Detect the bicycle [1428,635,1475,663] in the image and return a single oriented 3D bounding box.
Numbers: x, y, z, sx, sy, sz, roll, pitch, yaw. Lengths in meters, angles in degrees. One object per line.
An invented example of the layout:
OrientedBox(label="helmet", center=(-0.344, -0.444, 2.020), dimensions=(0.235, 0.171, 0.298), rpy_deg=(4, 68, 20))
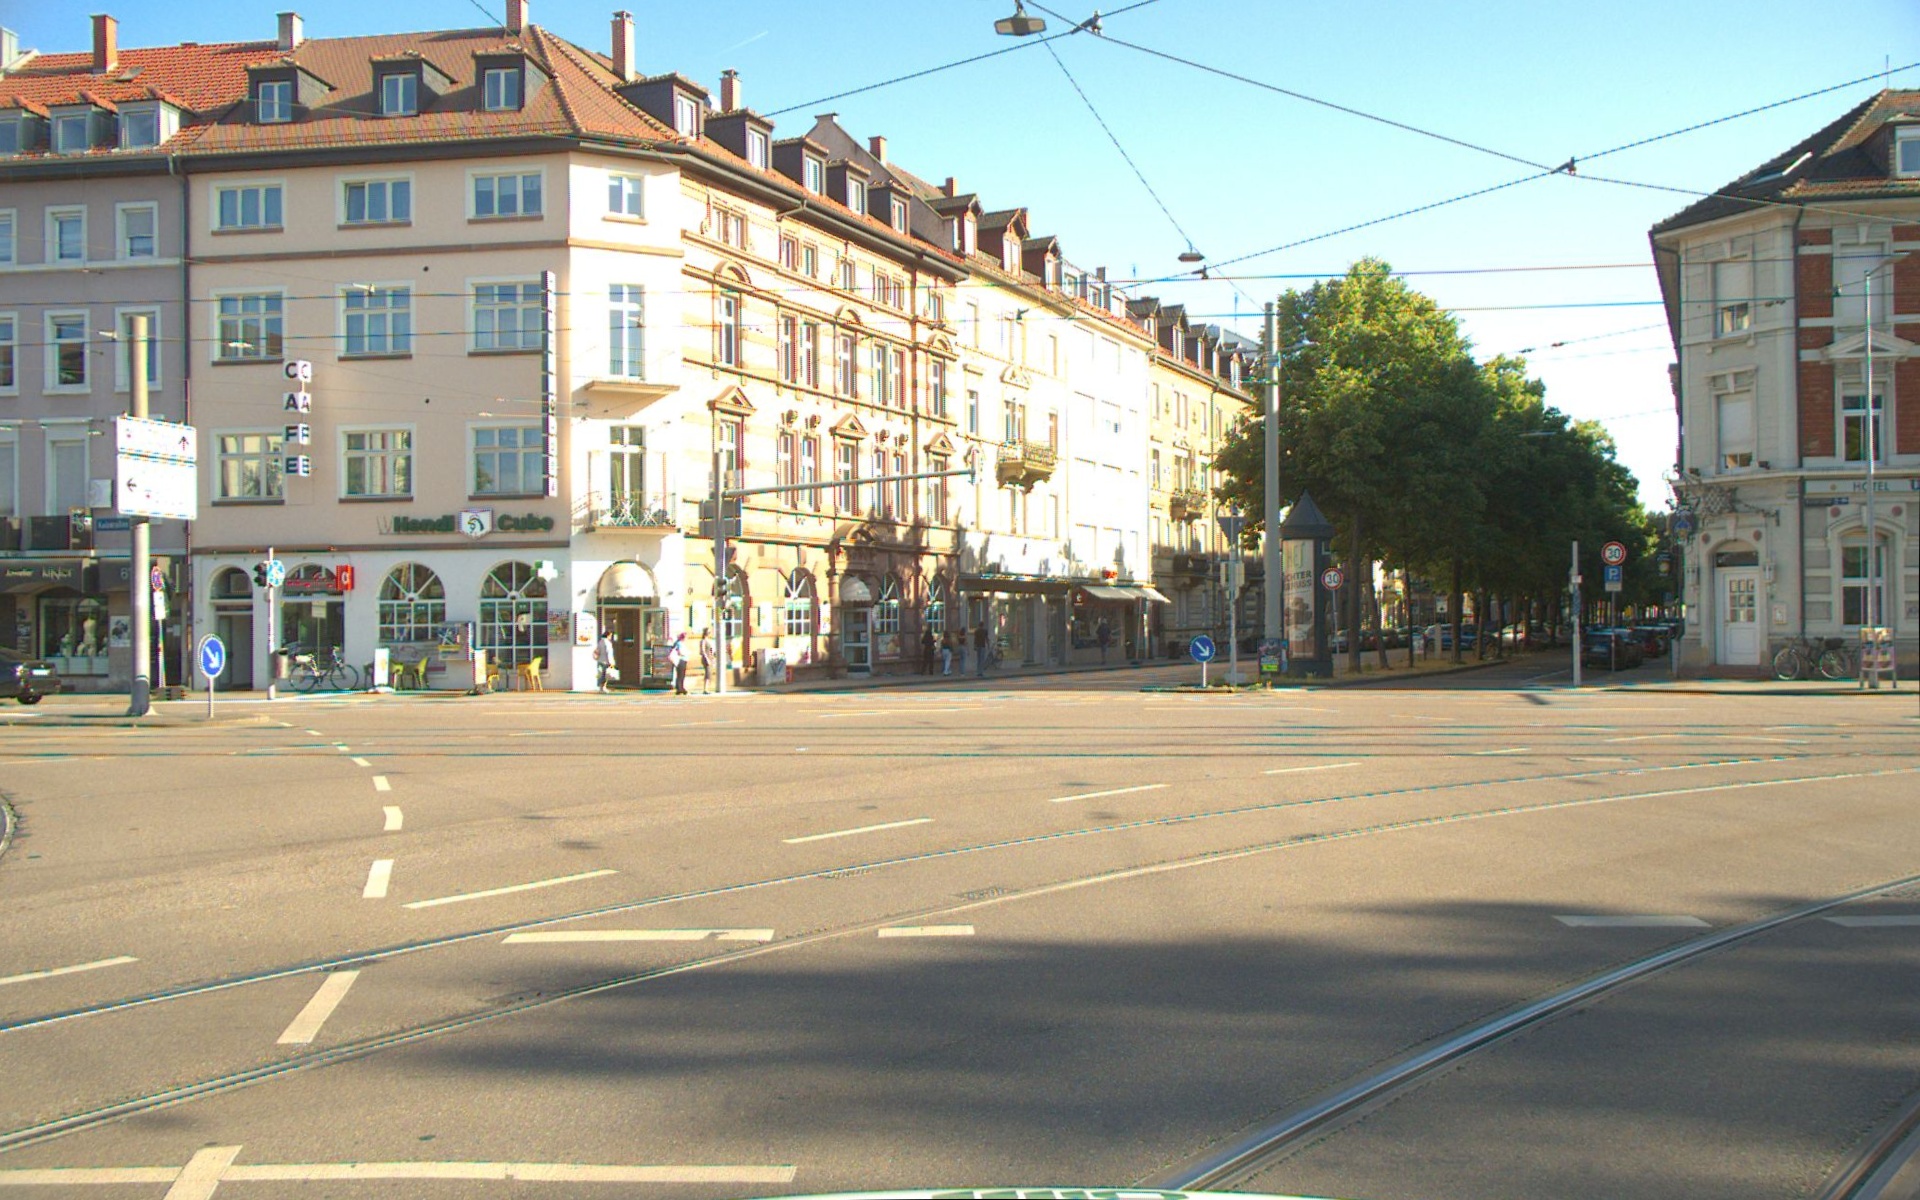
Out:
OrientedBox(label="bicycle", center=(19.371, 1.916, 65.192), dimensions=(0.575, 1.086, 1.932), rpy_deg=(0, -1, -27))

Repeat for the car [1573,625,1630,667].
OrientedBox(label="car", center=(24.848, 1.776, 63.991), dimensions=(1.953, 1.523, 4.032), rpy_deg=(-1, -1, 23))

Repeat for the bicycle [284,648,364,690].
OrientedBox(label="bicycle", center=(-17.045, 1.839, 44.353), dimensions=(1.903, 1.086, 0.583), rpy_deg=(-1, -1, 2))

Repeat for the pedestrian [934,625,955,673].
OrientedBox(label="pedestrian", center=(-0.545, 1.739, 58.263), dimensions=(0.539, 1.670, 0.538), rpy_deg=(-1, -1, 20))

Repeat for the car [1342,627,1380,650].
OrientedBox(label="car", center=(27.572, 2.643, 113.650), dimensions=(1.953, 1.523, 4.032), rpy_deg=(-1, -1, 23))

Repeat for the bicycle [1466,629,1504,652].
OrientedBox(label="bicycle", center=(25.680, 1.973, 80.912), dimensions=(0.575, 1.086, 1.932), rpy_deg=(0, -1, -27))

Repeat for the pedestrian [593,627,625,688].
OrientedBox(label="pedestrian", center=(-9.064, 1.481, 42.766), dimensions=(0.644, 1.551, 0.695), rpy_deg=(-1, -1, 1))

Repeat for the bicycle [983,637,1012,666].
OrientedBox(label="bicycle", center=(1.480, 2.009, 64.741), dimensions=(0.485, 1.086, 1.768), rpy_deg=(-1, -1, 25))

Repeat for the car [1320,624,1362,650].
OrientedBox(label="car", center=(24.149, 2.322, 104.797), dimensions=(1.953, 1.523, 4.032), rpy_deg=(-1, -1, 23))

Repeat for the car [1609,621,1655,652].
OrientedBox(label="car", center=(35.644, 1.927, 87.664), dimensions=(1.954, 1.523, 4.030), rpy_deg=(-1, -1, 26))

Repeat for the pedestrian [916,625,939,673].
OrientedBox(label="pedestrian", center=(-1.151, 1.733, 58.427), dimensions=(0.614, 1.670, 0.537), rpy_deg=(-1, -1, 21))

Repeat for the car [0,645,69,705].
OrientedBox(label="car", center=(-25.128, 1.891, 41.642), dimensions=(4.541, 1.465, 1.745), rpy_deg=(-1, -1, 6))

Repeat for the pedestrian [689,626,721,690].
OrientedBox(label="pedestrian", center=(-6.706, 1.515, 43.439), dimensions=(0.618, 1.670, 0.552), rpy_deg=(-1, -1, 22))

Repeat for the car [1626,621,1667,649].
OrientedBox(label="car", center=(39.801, 2.026, 95.834), dimensions=(1.954, 1.523, 4.030), rpy_deg=(-1, -1, 26))

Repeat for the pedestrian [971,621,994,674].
OrientedBox(label="pedestrian", center=(0.803, 1.671, 58.881), dimensions=(0.568, 1.868, 0.632), rpy_deg=(-1, -1, 25))

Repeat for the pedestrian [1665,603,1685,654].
OrientedBox(label="pedestrian", center=(24.467, 0.978, 56.623), dimensions=(0.579, 1.671, 0.577), rpy_deg=(-1, -9, 28))

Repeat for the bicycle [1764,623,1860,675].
OrientedBox(label="bicycle", center=(20.165, 1.154, 39.167), dimensions=(1.919, 1.211, 0.547), rpy_deg=(-1, -1, 14))

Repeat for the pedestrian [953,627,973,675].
OrientedBox(label="pedestrian", center=(0.105, 1.798, 58.468), dimensions=(0.539, 1.670, 0.633), rpy_deg=(-1, -1, 19))

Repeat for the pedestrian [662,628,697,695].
OrientedBox(label="pedestrian", center=(-7.120, 1.551, 42.053), dimensions=(0.661, 1.670, 0.578), rpy_deg=(-1, -1, 22))

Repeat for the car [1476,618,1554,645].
OrientedBox(label="car", center=(32.683, 1.855, 97.395), dimensions=(3.925, 1.572, 1.990), rpy_deg=(-1, -1, 40))

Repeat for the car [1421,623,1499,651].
OrientedBox(label="car", center=(29.282, 2.181, 96.918), dimensions=(3.921, 1.572, 1.992), rpy_deg=(-1, -1, 37))

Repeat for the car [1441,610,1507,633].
OrientedBox(label="car", center=(35.703, 1.506, 114.935), dimensions=(3.921, 1.572, 1.992), rpy_deg=(-1, -1, 37))

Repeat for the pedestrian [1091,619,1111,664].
OrientedBox(label="pedestrian", center=(6.219, 1.832, 72.806), dimensions=(0.668, 1.942, 0.632), rpy_deg=(-1, -1, 25))
